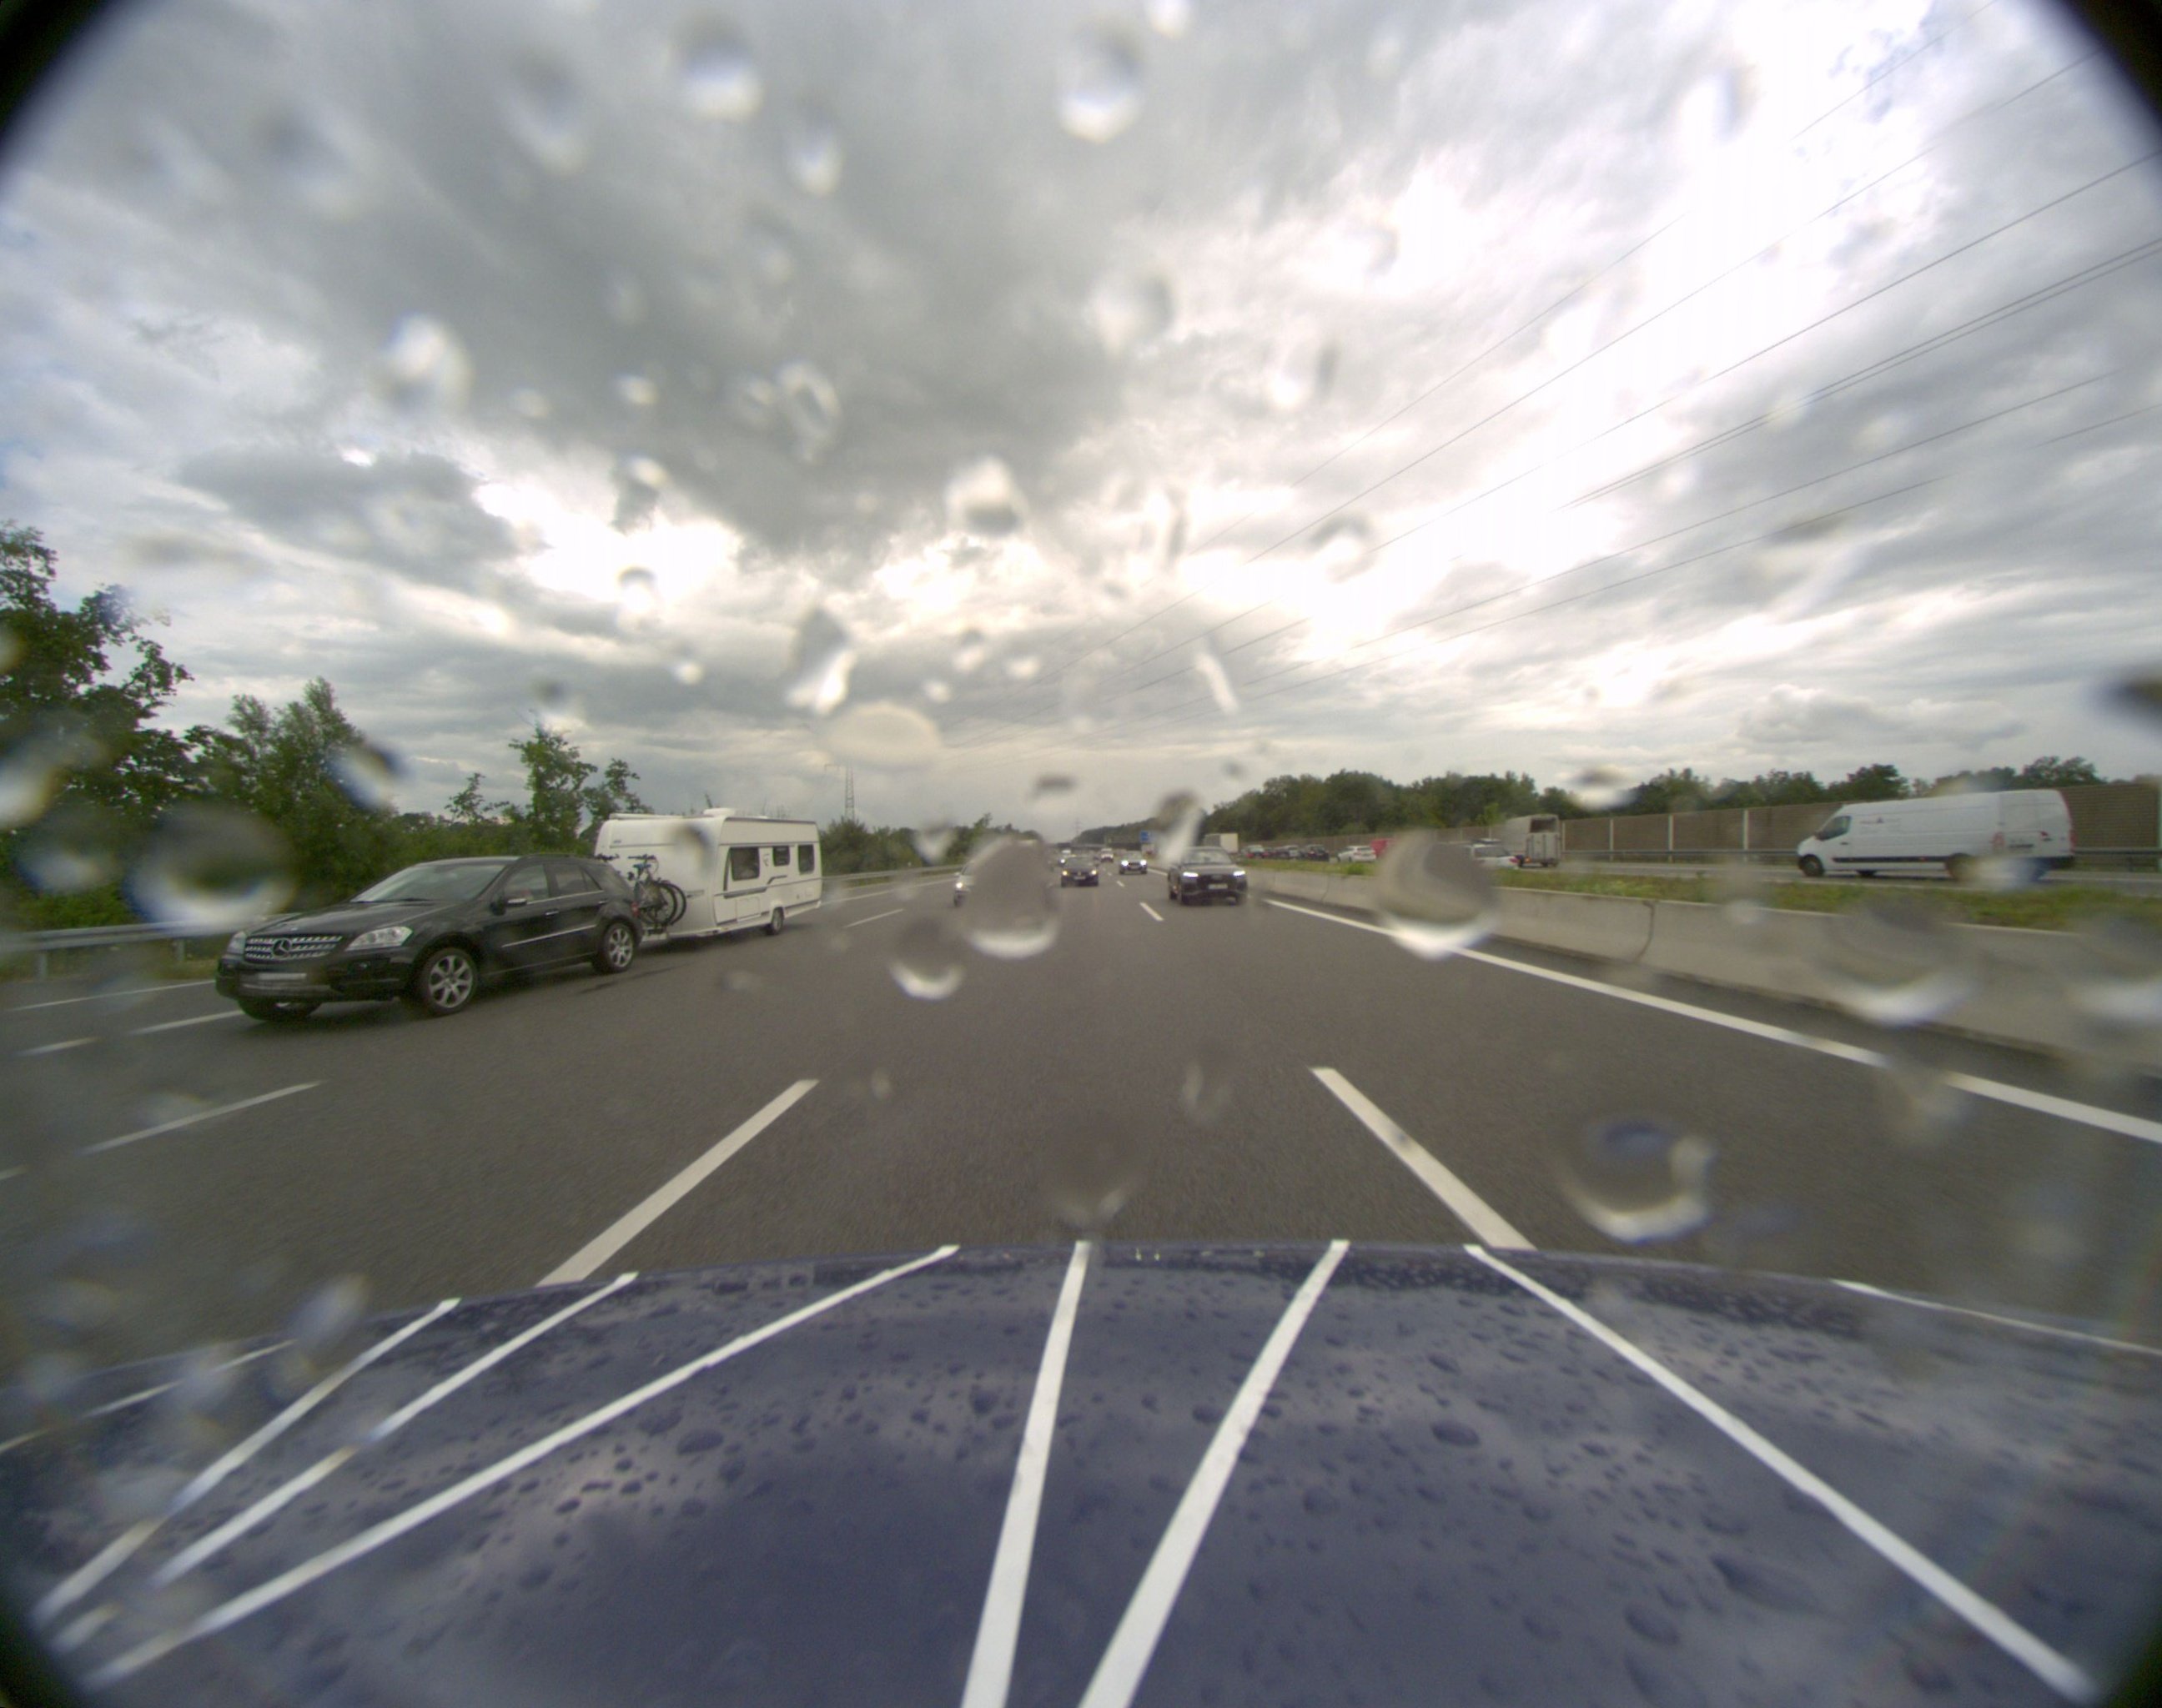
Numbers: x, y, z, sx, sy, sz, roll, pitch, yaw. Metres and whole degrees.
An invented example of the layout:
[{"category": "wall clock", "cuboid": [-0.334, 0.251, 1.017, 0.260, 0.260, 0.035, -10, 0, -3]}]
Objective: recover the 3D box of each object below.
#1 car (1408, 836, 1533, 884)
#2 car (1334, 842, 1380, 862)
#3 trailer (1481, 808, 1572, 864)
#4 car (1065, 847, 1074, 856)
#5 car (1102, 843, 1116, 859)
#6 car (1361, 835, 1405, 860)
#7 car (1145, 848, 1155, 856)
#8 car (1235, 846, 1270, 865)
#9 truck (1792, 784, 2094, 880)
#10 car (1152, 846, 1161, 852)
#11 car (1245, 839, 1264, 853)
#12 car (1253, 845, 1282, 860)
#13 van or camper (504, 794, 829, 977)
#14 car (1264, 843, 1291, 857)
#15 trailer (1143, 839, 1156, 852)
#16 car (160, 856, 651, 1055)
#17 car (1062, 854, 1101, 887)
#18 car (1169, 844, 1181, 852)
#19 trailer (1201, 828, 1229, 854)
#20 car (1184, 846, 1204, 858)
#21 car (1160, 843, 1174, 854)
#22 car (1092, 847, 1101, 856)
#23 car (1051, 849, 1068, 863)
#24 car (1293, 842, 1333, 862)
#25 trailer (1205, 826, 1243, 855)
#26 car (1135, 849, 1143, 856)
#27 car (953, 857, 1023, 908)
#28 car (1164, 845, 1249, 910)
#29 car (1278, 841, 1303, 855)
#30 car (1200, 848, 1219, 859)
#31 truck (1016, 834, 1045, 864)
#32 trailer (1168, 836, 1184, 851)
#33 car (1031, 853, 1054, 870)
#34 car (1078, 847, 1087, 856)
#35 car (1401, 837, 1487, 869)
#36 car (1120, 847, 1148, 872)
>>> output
[{"category": "car", "cuboid": [13.829, 0.196, 27.342, 1.999, 1.517, 4.740, -2, 0, -1]}, {"category": "car", "cuboid": [21.756, -0.201, 60.110, 1.770, 1.446, 4.942, -2, 1, 0]}, {"category": "trailer", "cuboid": [25.399, -1.001, 43.527, 2.253, 2.945, 4.900, -2, 1, 0]}, {"category": "car", "cuboid": [-2.588, -0.545, 173.379, 1.998, 2.002, 4.000, -2, 1, 1]}, {"category": "car", "cuboid": [4.555, -0.500, 123.498, 1.998, 2.524, 4.808, -2, 1, 1]}, {"category": "car", "cuboid": [25.775, -0.580, 65.026, 1.770, 1.956, 4.942, -2, 1, 0]}, {"category": "car", "cuboid": [14.862, -0.446, 164.500, 1.770, 1.528, 4.482, -2, 1, 0]}, {"category": "car", "cuboid": [14.654, 0.109, 65.272, 1.831, 1.446, 4.942, -2, 1, 0]}, {"category": "truck", "cuboid": [25.675, -0.611, 23.172, 2.107, 2.437, 6.263, -2, 1, 0]}, {"category": "car", "cuboid": [18.647, -1.282, 187.711, 1.770, 1.540, 5.712, -2, 1, 0]}, {"category": "car", "cuboid": [26.694, -1.172, 116.881, 2.008, 2.002, 4.000, -2, 1, 2]}, {"category": "car", "cuboid": [19.190, -0.178, 78.315, 1.770, 1.446, 4.942, -2, 1, 0]}, {"category": "van or camper", "cuboid": [-7.593, 0.459, 15.334, 2.390, 2.723, 7.208, -2, 1, 1]}, {"category": "car", "cuboid": [22.346, -0.437, 86.690, 1.770, 1.446, 4.942, -2, 1, 0]}, {"category": "trailer", "cuboid": [21.920, -2.673, 242.376, 2.732, 3.863, 14.050, -2, 1, 0]}, {"category": "car", "cuboid": [-7.630, 0.967, 9.401, 1.925, 1.766, 4.502, -2, 1, 1]}, {"category": "car", "cuboid": [0.048, 0.743, 37.000, 1.717, 1.437, 4.000, -2, 1, 1]}, {"category": "car", "cuboid": [19.264, -1.284, 155.817, 1.770, 1.528, 5.160, -2, 1, 0]}, {"category": "trailer", "cuboid": [22.234, -2.126, 126.448, 3.327, 4.020, 6.078, -2, 1, 0]}, {"category": "car", "cuboid": [14.746, -0.256, 99.355, 1.770, 1.446, 5.084, -2, 1, 0]}, {"category": "car", "cuboid": [15.770, -1.012, 139.259, 1.927, 1.888, 5.160, -2, 1, 0]}, {"category": "car", "cuboid": [3.552, -0.639, 174.574, 1.998, 2.002, 4.000, -2, 1, 1]}, {"category": "car", "cuboid": [-2.752, 0.196, 97.607, 1.999, 1.701, 3.999, -2, 1, 0]}, {"category": "car", "cuboid": [18.306, -0.181, 60.169, 1.770, 1.446, 4.233, -2, 1, 0]}, {"category": "trailer", "cuboid": [22.236, -2.054, 119.220, 3.327, 4.038, 13.286, -2, 1, 0]}, {"category": "car", "cuboid": [15.090, -0.419, 198.170, 1.770, 1.528, 5.160, -2, 1, 0]}, {"category": "car", "cuboid": [-2.946, 0.868, 24.783, 1.683, 1.437, 4.000, -2, 1, 1]}, {"category": "car", "cuboid": [3.671, 0.606, 23.126, 1.913, 1.681, 5.169, -2, 1, 3]}, {"category": "car", "cuboid": [26.736, -0.756, 97.091, 1.770, 1.601, 4.942, -2, 1, 0]}, {"category": "car", "cuboid": [18.649, -0.118, 110.630, 1.770, 1.528, 5.160, -2, 1, 0]}, {"category": "truck", "cuboid": [-6.479, -0.688, 98.348, 2.870, 3.633, 9.593, -2, 1, 1]}, {"category": "trailer", "cuboid": [27.110, -3.056, 217.150, 2.684, 3.941, 14.051, -2, 1, 1]}, {"category": "car", "cuboid": [-3.498, 0.630, 69.363, 1.841, 1.437, 4.000, -2, 1, 1]}, {"category": "car", "cuboid": [0.428, -0.695, 187.069, 1.998, 2.002, 4.000, -2, 1, 1]}, {"category": "car", "cuboid": [18.430, -0.052, 38.856, 1.970, 1.446, 4.942, -2, 1, 0]}, {"category": "car", "cuboid": [3.781, 0.347, 54.740, 1.840, 1.615, 4.915, -2, 1, 3]}]
